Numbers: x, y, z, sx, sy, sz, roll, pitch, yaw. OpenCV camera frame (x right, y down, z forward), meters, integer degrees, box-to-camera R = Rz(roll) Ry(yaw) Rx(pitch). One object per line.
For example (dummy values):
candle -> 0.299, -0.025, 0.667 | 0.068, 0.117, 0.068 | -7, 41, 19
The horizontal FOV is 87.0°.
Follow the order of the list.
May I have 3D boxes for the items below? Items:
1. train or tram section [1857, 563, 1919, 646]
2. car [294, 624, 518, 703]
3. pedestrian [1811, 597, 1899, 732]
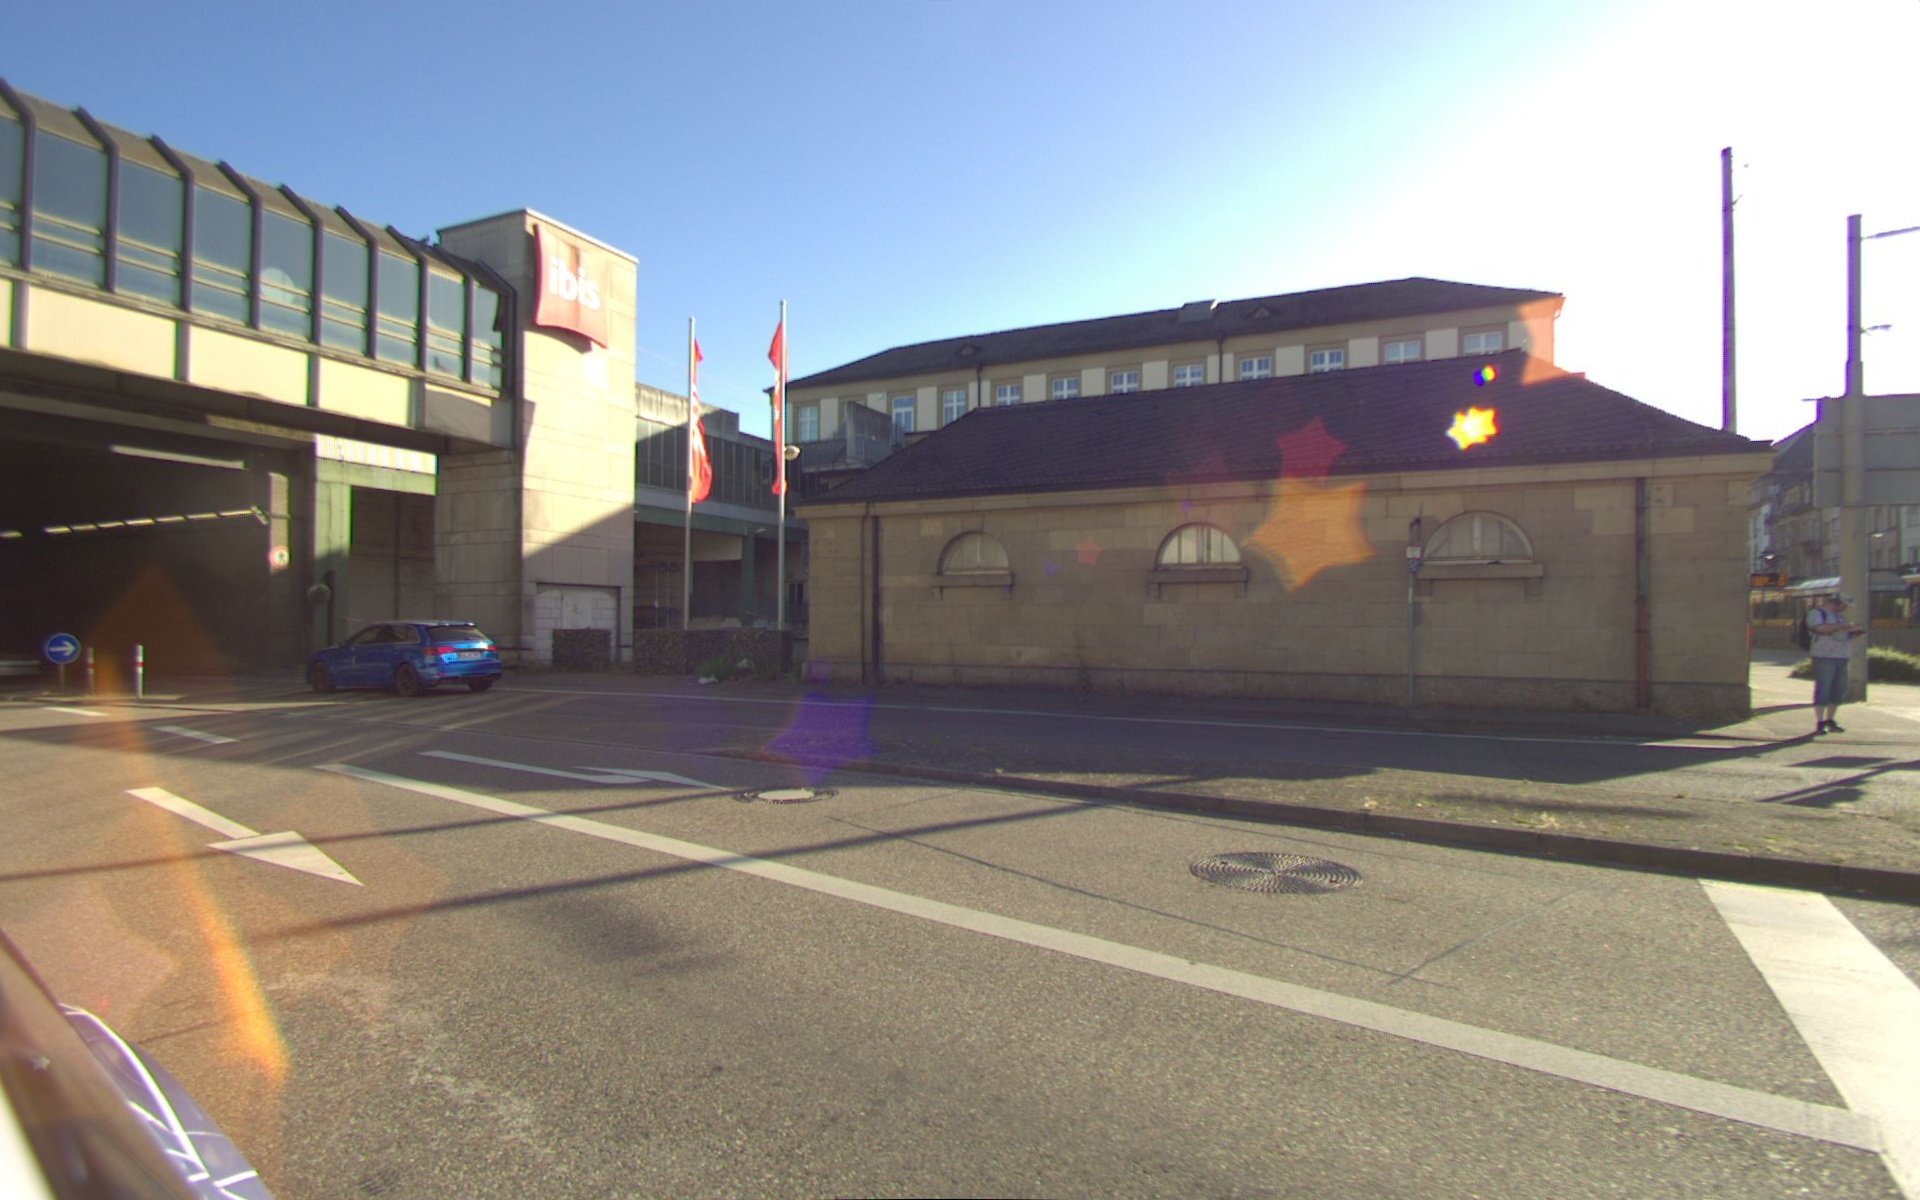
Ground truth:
train or tram section -> 41.487, 0.182, 42.199 | 3.148, 3.382, 10.756 | -1, -1, 25
car -> -10.935, 1.197, 19.946 | 4.224, 1.401, 1.800 | -1, -2, 26
pedestrian -> 11.232, 0.801, 12.714 | 0.616, 1.652, 0.515 | 0, -2, -1
